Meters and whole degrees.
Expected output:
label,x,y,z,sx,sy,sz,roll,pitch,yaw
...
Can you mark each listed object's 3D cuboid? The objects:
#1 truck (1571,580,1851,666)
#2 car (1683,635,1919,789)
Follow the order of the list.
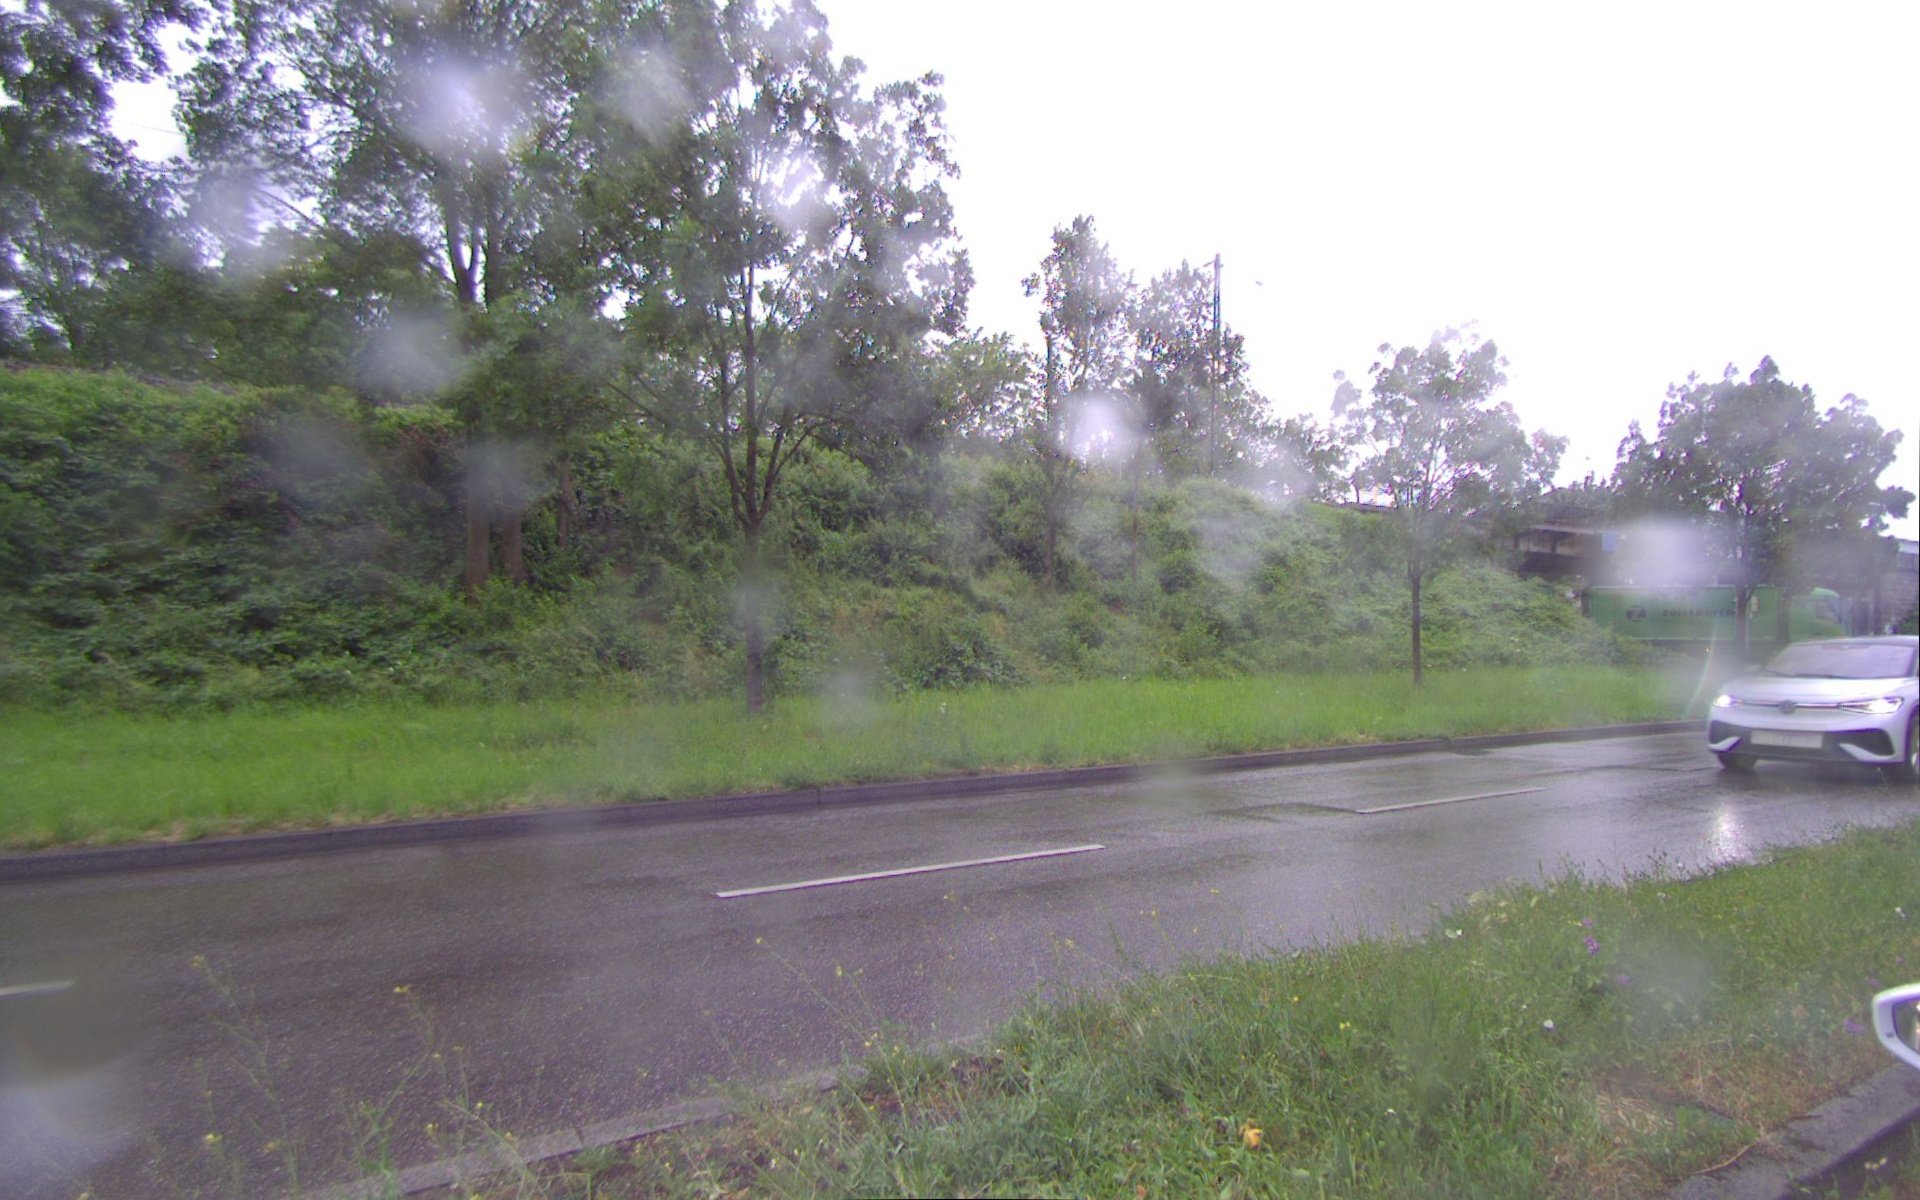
label,x,y,z,sx,sy,sz,roll,pitch,yaw
truck,34.282,1.015,46.446,9.947,3.497,2.657,2,-1,24
car,10.952,1.216,12.282,4.286,1.545,1.952,1,-2,-32
